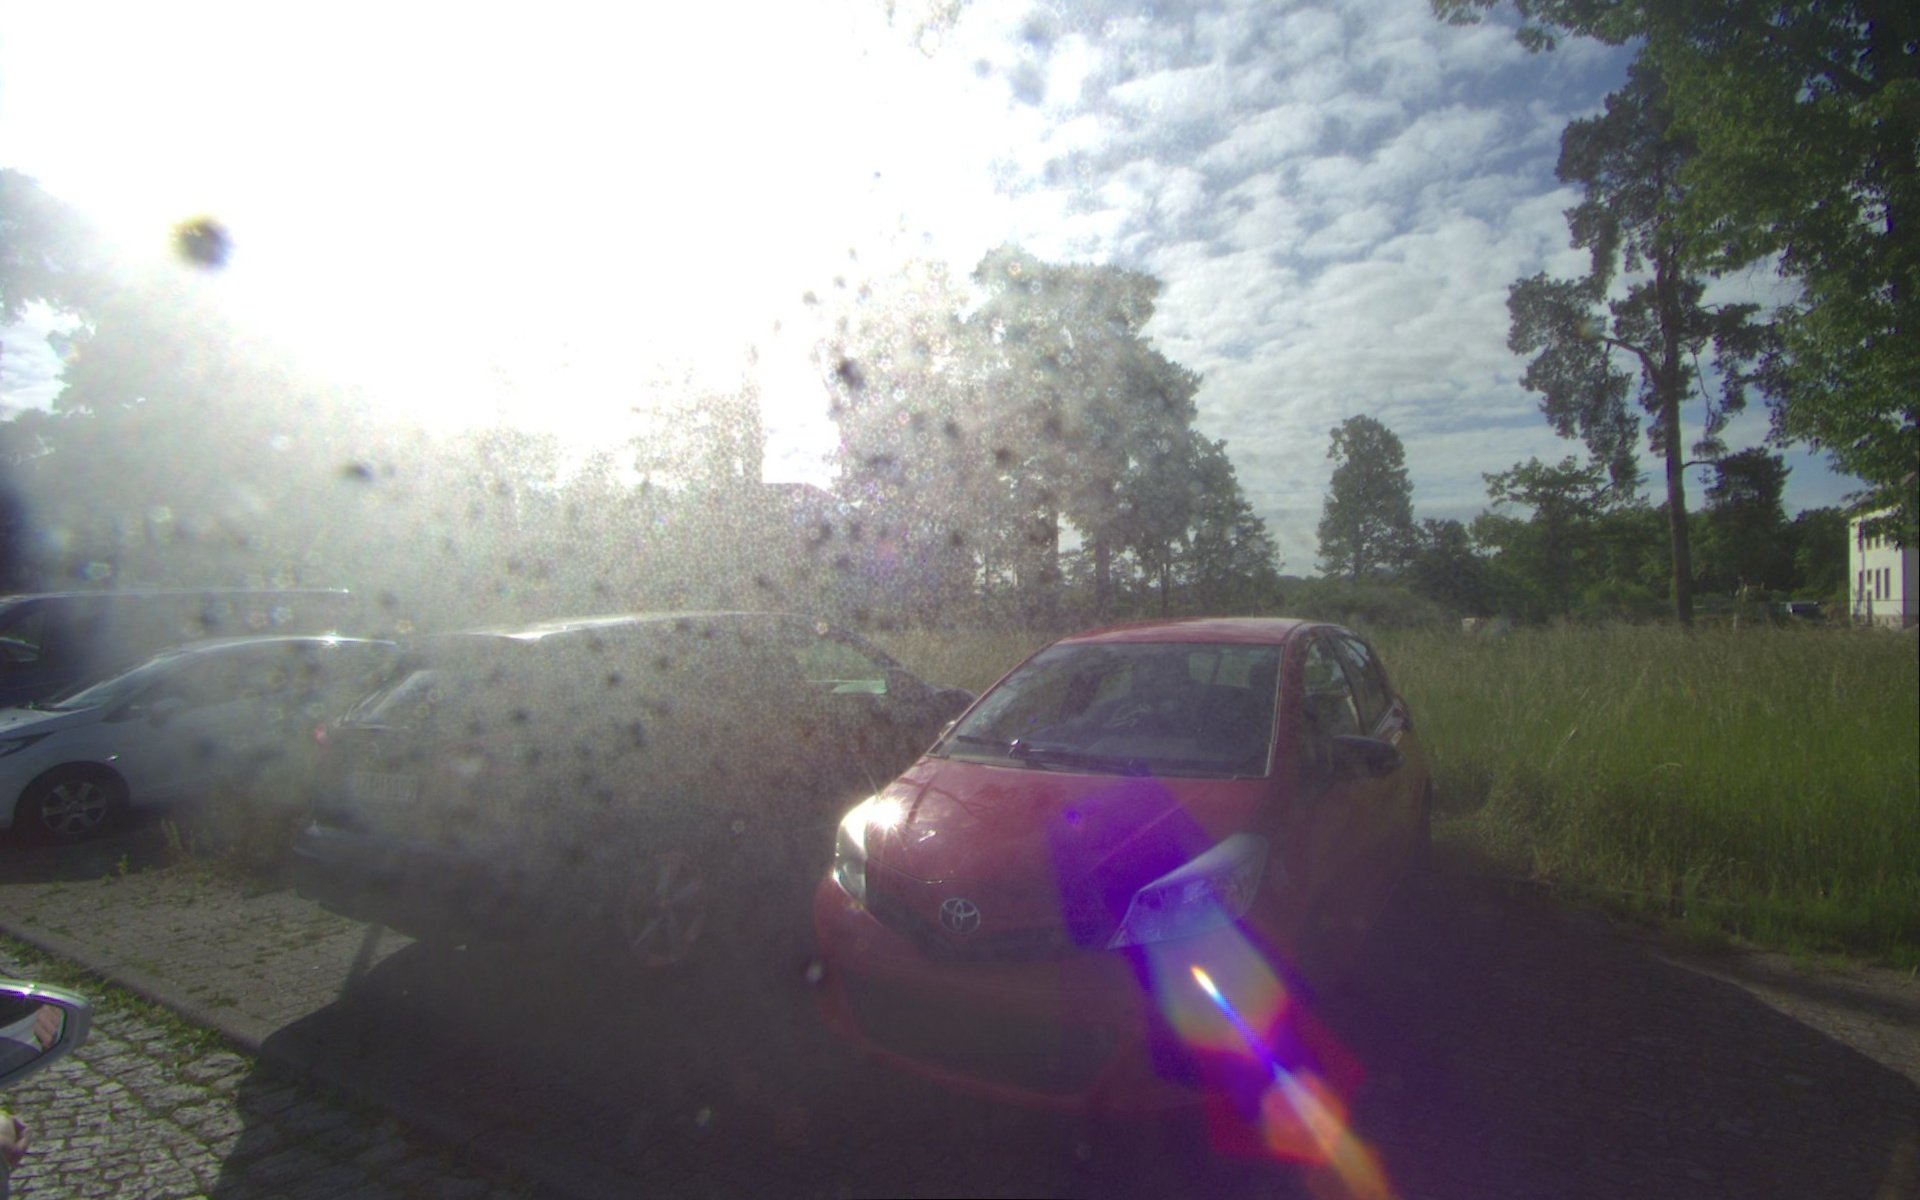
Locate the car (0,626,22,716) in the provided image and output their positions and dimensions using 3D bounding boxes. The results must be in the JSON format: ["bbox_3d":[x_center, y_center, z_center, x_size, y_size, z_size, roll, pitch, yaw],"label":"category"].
[{"bbox_3d":[-17.916,1.215,16.373,1.621,1.549,3.473,-1,-1,31],"label":"car"}]

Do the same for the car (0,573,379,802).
[{"bbox_3d":[-8.919,0.804,10.344,2.052,2.040,4.672,-1,-1,29],"label":"car"}]

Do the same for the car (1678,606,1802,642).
[{"bbox_3d":[50.840,1.623,65.432,2.340,2.199,5.991,0,-2,-27],"label":"car"}]

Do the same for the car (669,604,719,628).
[{"bbox_3d":[-23.292,1.426,87.902,1.971,2.040,3.979,-1,-1,32],"label":"car"}]

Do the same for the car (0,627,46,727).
[{"bbox_3d":[-15.790,1.190,14.345,1.621,1.486,3.669,-1,0,31],"label":"car"}]

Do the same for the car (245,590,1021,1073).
[{"bbox_3d":[-1.336,0.821,5.556,1.746,1.643,3.930,-1,-1,31],"label":"car"}]

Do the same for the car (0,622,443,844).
[{"bbox_3d":[-6.780,0.983,8.782,1.621,1.508,3.714,-1,0,30],"label":"car"}]

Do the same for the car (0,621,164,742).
[{"bbox_3d":[-13.117,1.097,13.254,1.622,1.485,3.685,-1,1,33],"label":"car"}]

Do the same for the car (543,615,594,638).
[{"bbox_3d":[-35.429,2.364,90.696,1.971,2.040,3.979,-1,-1,32],"label":"car"}]

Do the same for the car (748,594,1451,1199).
[{"bbox_3d":[1.006,0.793,4.346,1.622,1.550,3.755,-1,-1,32],"label":"car"}]

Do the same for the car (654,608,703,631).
[{"bbox_3d":[-24.986,1.718,89.023,1.971,2.040,3.979,-1,-1,32],"label":"car"}]
